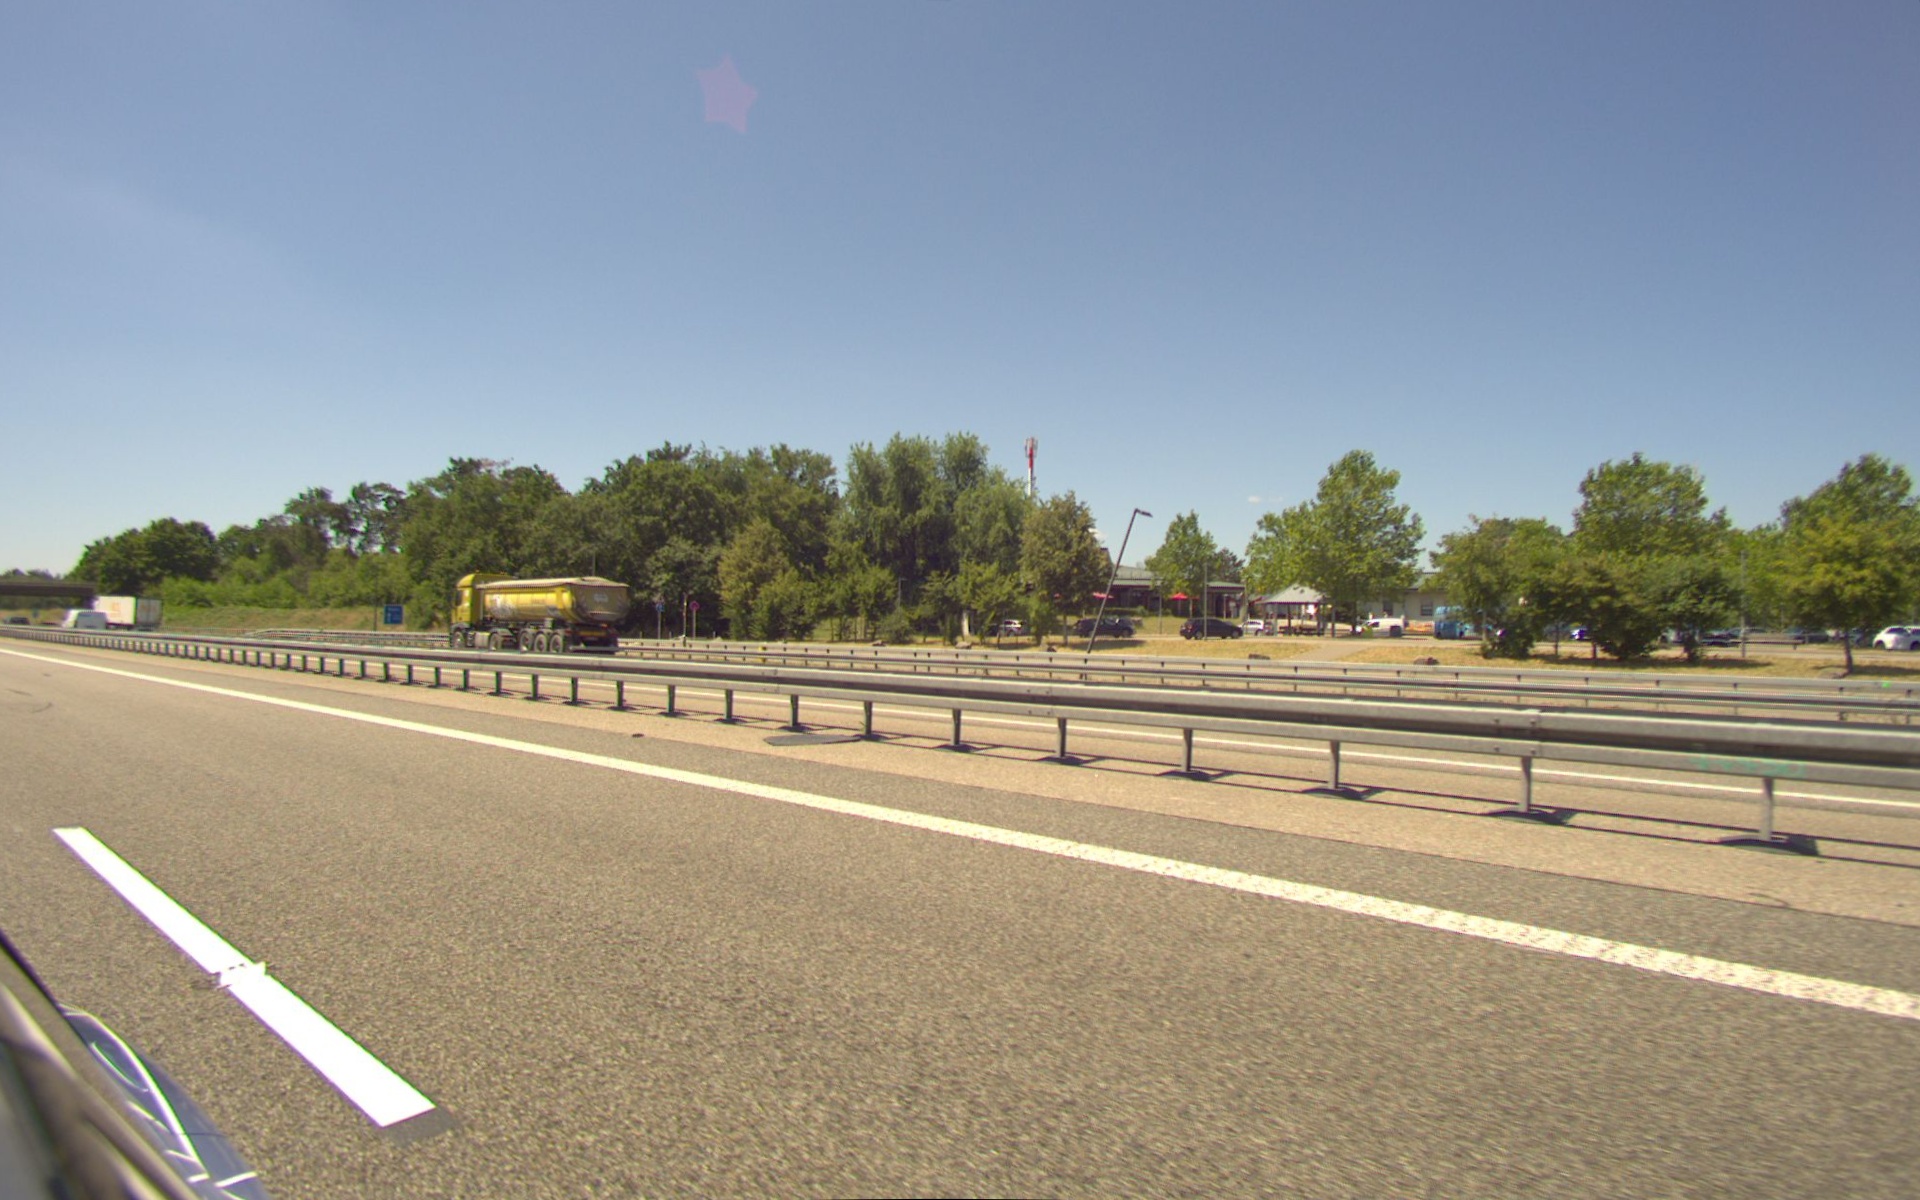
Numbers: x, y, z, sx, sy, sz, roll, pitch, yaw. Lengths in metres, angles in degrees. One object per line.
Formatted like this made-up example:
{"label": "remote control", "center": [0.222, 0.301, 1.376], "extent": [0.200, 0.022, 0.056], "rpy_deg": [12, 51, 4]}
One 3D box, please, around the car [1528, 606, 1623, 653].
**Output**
{"label": "car", "center": [38.637, 1.795, 63.740], "extent": [2.446, 2.770, 6.198], "rpy_deg": [-1, -1, 4]}

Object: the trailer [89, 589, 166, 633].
{"label": "trailer", "center": [-98.567, 1.424, 119.733], "extent": [13.729, 4.865, 3.045], "rpy_deg": [-1, -5, 34]}

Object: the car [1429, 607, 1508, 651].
{"label": "car", "center": [33.756, 1.911, 67.437], "extent": [2.446, 2.770, 6.198], "rpy_deg": [-1, -1, 4]}

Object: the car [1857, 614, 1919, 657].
{"label": "car", "center": [50.094, 1.797, 52.139], "extent": [2.446, 2.140, 6.198], "rpy_deg": [-1, -1, 4]}

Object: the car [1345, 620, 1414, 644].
{"label": "car", "center": [38.195, 2.898, 92.184], "extent": [5.175, 2.006, 2.476], "rpy_deg": [-1, -1, 3]}

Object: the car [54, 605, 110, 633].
{"label": "car", "center": [-60.890, 1.330, 70.144], "extent": [5.939, 1.857, 2.031], "rpy_deg": [-1, -3, 40]}

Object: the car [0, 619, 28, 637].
{"label": "car", "center": [-89.729, 2.670, 95.405], "extent": [4.887, 1.563, 2.031], "rpy_deg": [-1, -5, 40]}

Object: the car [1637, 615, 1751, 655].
{"label": "car", "center": [42.949, 1.994, 59.484], "extent": [2.446, 2.140, 6.198], "rpy_deg": [-1, -1, 4]}

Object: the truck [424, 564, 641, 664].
{"label": "truck", "center": [-19.134, 0.706, 44.496], "extent": [13.523, 3.839, 3.138], "rpy_deg": [-1, -3, 41]}

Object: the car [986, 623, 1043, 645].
{"label": "car", "center": [5.033, 3.130, 94.125], "extent": [2.438, 2.006, 5.255], "rpy_deg": [-1, -1, -38]}

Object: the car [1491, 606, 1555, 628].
{"label": "car", "center": [53.898, 1.664, 96.978], "extent": [5.222, 2.006, 2.453], "rpy_deg": [-1, -1, 30]}

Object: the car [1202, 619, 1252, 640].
{"label": "car", "center": [27.067, 2.946, 102.577], "extent": [5.165, 2.006, 2.480], "rpy_deg": [-1, -1, -44]}

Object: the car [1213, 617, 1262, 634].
{"label": "car", "center": [32.978, 3.051, 120.482], "extent": [5.220, 2.006, 2.454], "rpy_deg": [-1, -1, 28]}
